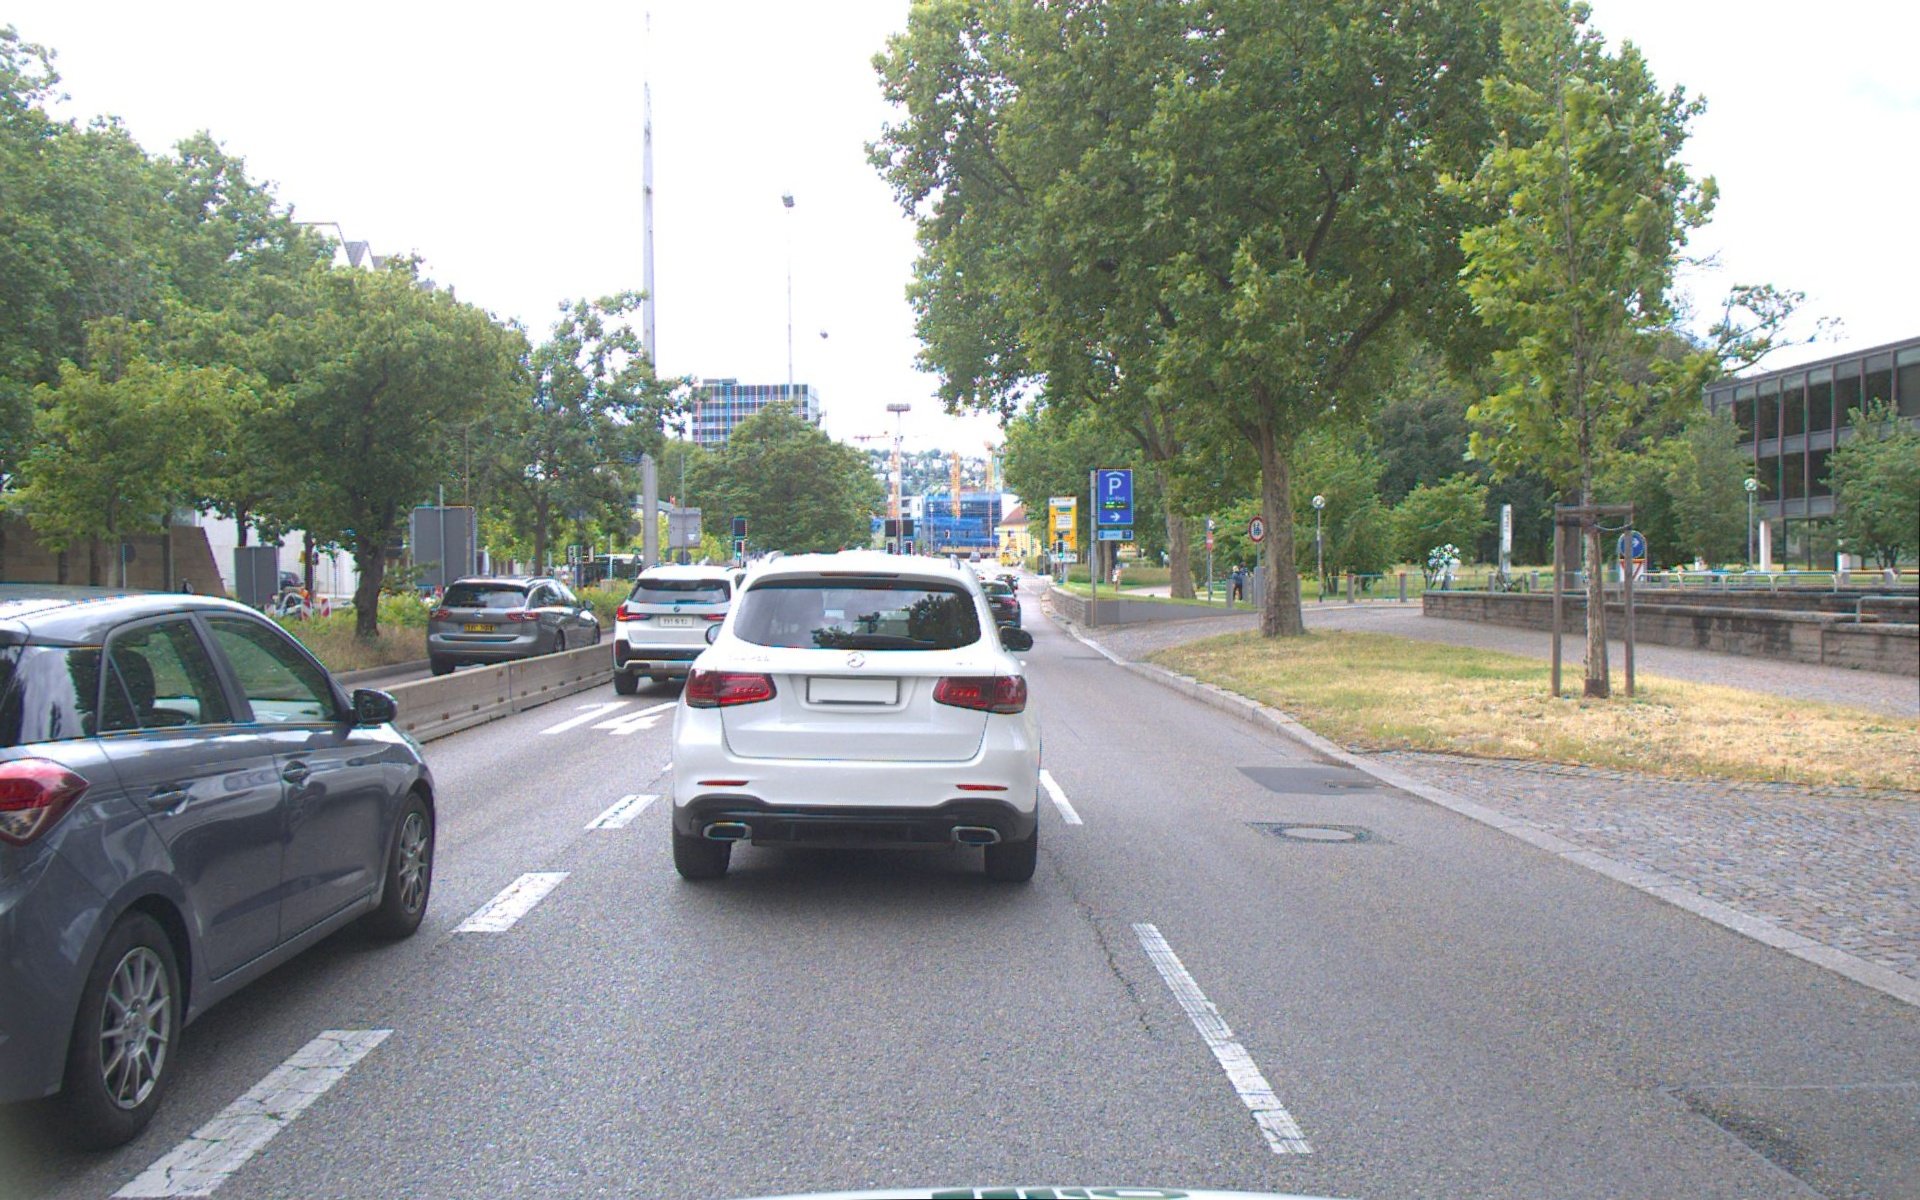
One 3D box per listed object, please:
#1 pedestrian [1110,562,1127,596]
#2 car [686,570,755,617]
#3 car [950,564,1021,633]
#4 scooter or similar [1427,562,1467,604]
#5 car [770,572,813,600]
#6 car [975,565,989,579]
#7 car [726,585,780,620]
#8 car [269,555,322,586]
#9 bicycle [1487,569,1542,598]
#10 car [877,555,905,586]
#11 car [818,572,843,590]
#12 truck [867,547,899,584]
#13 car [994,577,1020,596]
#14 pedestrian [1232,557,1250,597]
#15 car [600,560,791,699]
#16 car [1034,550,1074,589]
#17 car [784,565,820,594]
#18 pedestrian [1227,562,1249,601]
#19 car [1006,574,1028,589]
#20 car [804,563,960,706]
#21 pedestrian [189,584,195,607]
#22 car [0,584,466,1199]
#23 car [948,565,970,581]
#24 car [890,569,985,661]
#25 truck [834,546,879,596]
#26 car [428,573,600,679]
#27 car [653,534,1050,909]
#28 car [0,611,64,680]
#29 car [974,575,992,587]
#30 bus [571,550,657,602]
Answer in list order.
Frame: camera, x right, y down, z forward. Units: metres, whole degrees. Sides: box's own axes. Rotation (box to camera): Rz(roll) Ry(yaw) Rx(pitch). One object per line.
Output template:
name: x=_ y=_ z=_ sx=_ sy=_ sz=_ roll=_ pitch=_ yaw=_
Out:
pedestrian: x=9.539 y=-1.289 z=99.726 sx=0.746 sy=2.049 sz=0.696 roll=0 pitch=1 yaw=35
car: x=-7.690 y=-0.242 z=53.351 sx=1.740 sy=1.445 sz=3.999 roll=-1 pitch=1 yaw=-2
car: x=0.663 y=-0.072 z=45.676 sx=1.788 sy=1.783 sz=3.999 roll=-1 pitch=1 yaw=-2
scooter or similar: x=15.299 y=-0.536 z=52.054 sx=0.622 sy=1.267 sz=2.226 roll=1 pitch=0 yaw=1
car: x=-8.168 y=-0.696 z=80.436 sx=1.625 sy=1.342 sz=3.548 roll=0 pitch=0 yaw=2
car: x=2.799 y=-3.617 z=214.034 sx=1.723 sy=1.698 sz=4.167 roll=0 pitch=1 yaw=-1
car: x=-8.359 y=0.078 z=66.988 sx=1.625 sy=1.342 sz=3.548 roll=0 pitch=0 yaw=2
car: x=-43.789 y=-1.940 z=109.072 sx=1.953 sy=1.948 sz=3.999 roll=-1 pitch=1 yaw=-2
bicycle: x=19.590 y=-0.571 z=58.502 sx=0.934 sy=0.992 sz=2.786 roll=1 pitch=0 yaw=-2
car: x=-5.697 y=-2.464 z=137.046 sx=1.952 sy=2.518 sz=4.001 roll=0 pitch=1 yaw=2
car: x=-9.865 y=-1.425 z=126.521 sx=1.625 sy=1.342 sz=3.547 roll=0 pitch=0 yaw=0
truck: x=-6.716 y=-2.985 z=144.735 sx=2.638 sy=3.044 sz=5.635 roll=1 pitch=0 yaw=-2
car: x=3.613 y=-1.050 z=127.095 sx=1.907 sy=1.453 sz=4.016 roll=0 pitch=0 yaw=0
pedestrian: x=12.533 y=-1.018 z=73.712 sx=0.743 sy=1.755 sz=0.699 roll=0 pitch=1 yaw=7
car: x=-3.422 y=0.338 z=22.312 sx=1.813 sy=1.656 sz=4.906 roll=0 pitch=0 yaw=0
car: x=5.115 y=-1.641 z=90.443 sx=1.953 sy=2.049 sz=4.000 roll=0 pitch=0 yaw=0
car: x=-8.612 y=-1.097 z=90.138 sx=1.625 sy=1.539 sz=3.547 roll=-1 pitch=1 yaw=0
pedestrian: x=11.638 y=-0.773 z=69.183 sx=0.655 sy=1.639 sz=0.633 roll=-1 pitch=1 yaw=-33
car: x=5.305 y=-1.719 z=154.364 sx=1.907 sy=1.342 sz=4.016 roll=0 pitch=0 yaw=0
car: x=-1.066 y=0.381 z=20.837 sx=1.761 sy=1.636 sz=3.750 roll=0 pitch=0 yaw=-6
pedestrian: x=-35.410 y=-0.208 z=76.254 sx=0.211 sy=1.097 sz=0.258 roll=1 pitch=0 yaw=-19
car: x=-3.036 y=0.685 z=5.452 sx=1.762 sy=1.462 sz=4.018 roll=0 pitch=0 yaw=-3
car: x=-0.081 y=-2.352 z=143.100 sx=1.907 sy=1.342 sz=4.016 roll=0 pitch=0 yaw=0
car: x=-0.472 y=0.256 z=31.594 sx=1.626 sy=1.668 sz=3.545 roll=0 pitch=0 yaw=-4
truck: x=-6.311 y=-1.784 z=101.637 sx=2.568 sy=2.911 sz=7.076 roll=1 pitch=1 yaw=-2
car: x=-6.638 y=0.356 z=25.004 sx=1.628 sy=1.461 sz=3.959 roll=0 pitch=0 yaw=-2
car: x=-0.508 y=0.517 z=9.660 sx=1.751 sy=1.653 sz=4.437 roll=1 pitch=1 yaw=-1
car: x=-22.209 y=1.034 z=37.358 sx=1.811 sy=1.484 sz=3.999 roll=-1 pitch=1 yaw=-1
car: x=2.495 y=-2.072 z=179.239 sx=1.907 sy=1.342 sz=4.016 roll=0 pitch=0 yaw=0
bus: x=-23.413 y=-1.651 z=112.877 sx=3.594 sy=3.261 sz=14.265 roll=-1 pitch=1 yaw=-3
